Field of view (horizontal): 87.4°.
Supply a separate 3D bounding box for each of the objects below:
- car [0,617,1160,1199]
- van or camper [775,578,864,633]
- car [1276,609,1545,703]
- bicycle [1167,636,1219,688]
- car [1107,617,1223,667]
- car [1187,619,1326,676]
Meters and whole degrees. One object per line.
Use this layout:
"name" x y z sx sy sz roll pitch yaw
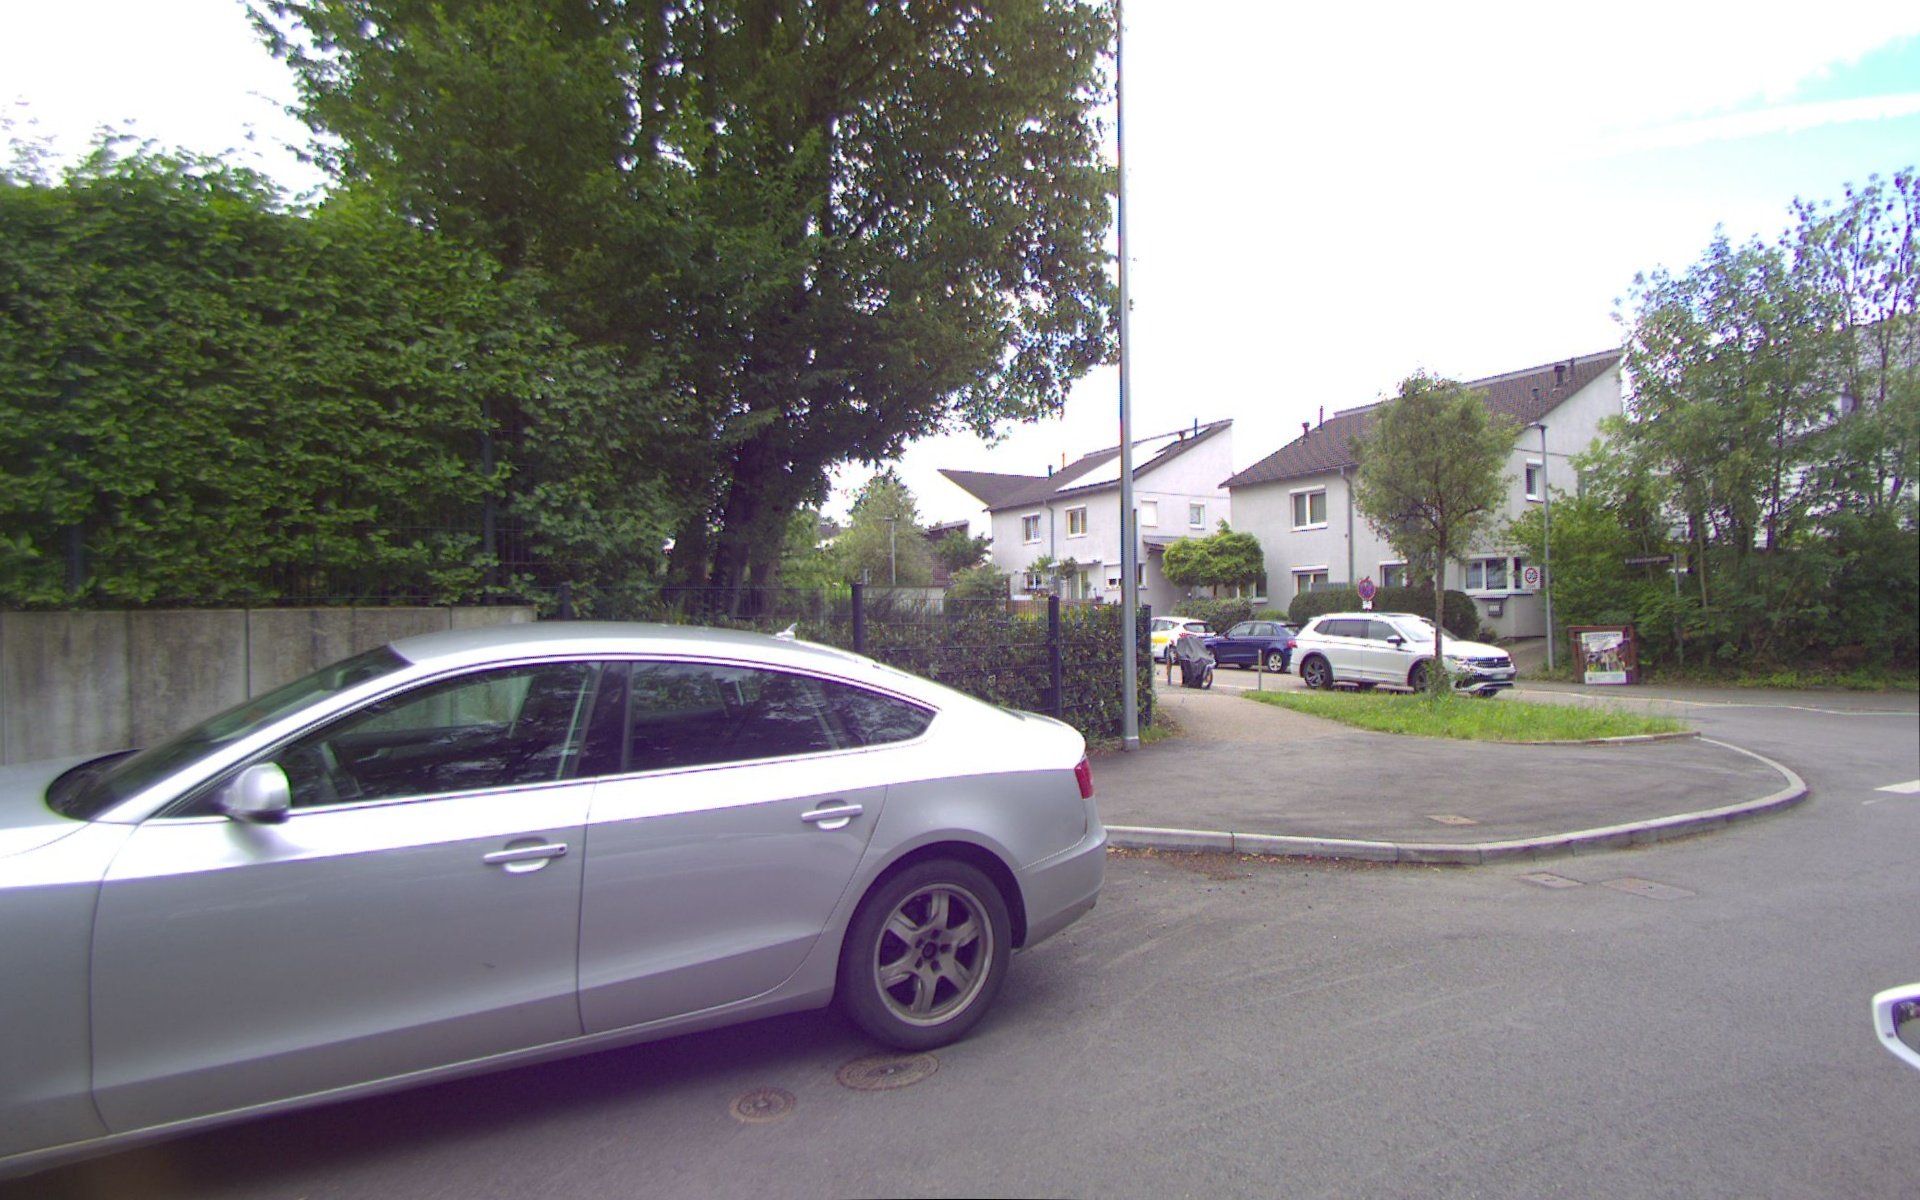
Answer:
"car" -1.598 0.784 3.459 4.393 1.392 1.822 1 0 -30
"van or camper" -8.034 0.277 56.576 2.280 2.883 7.557 1 0 -31
"car" 9.141 1.058 20.875 2.012 1.692 4.916 1 -1 -28
"bicycle" 5.141 1.340 22.298 0.639 1.015 2.586 1 -1 2
"car" 6.473 1.281 32.044 1.513 1.431 3.764 1 0 -31
"car" 8.312 1.281 28.381 1.655 1.431 3.517 1 0 -34
